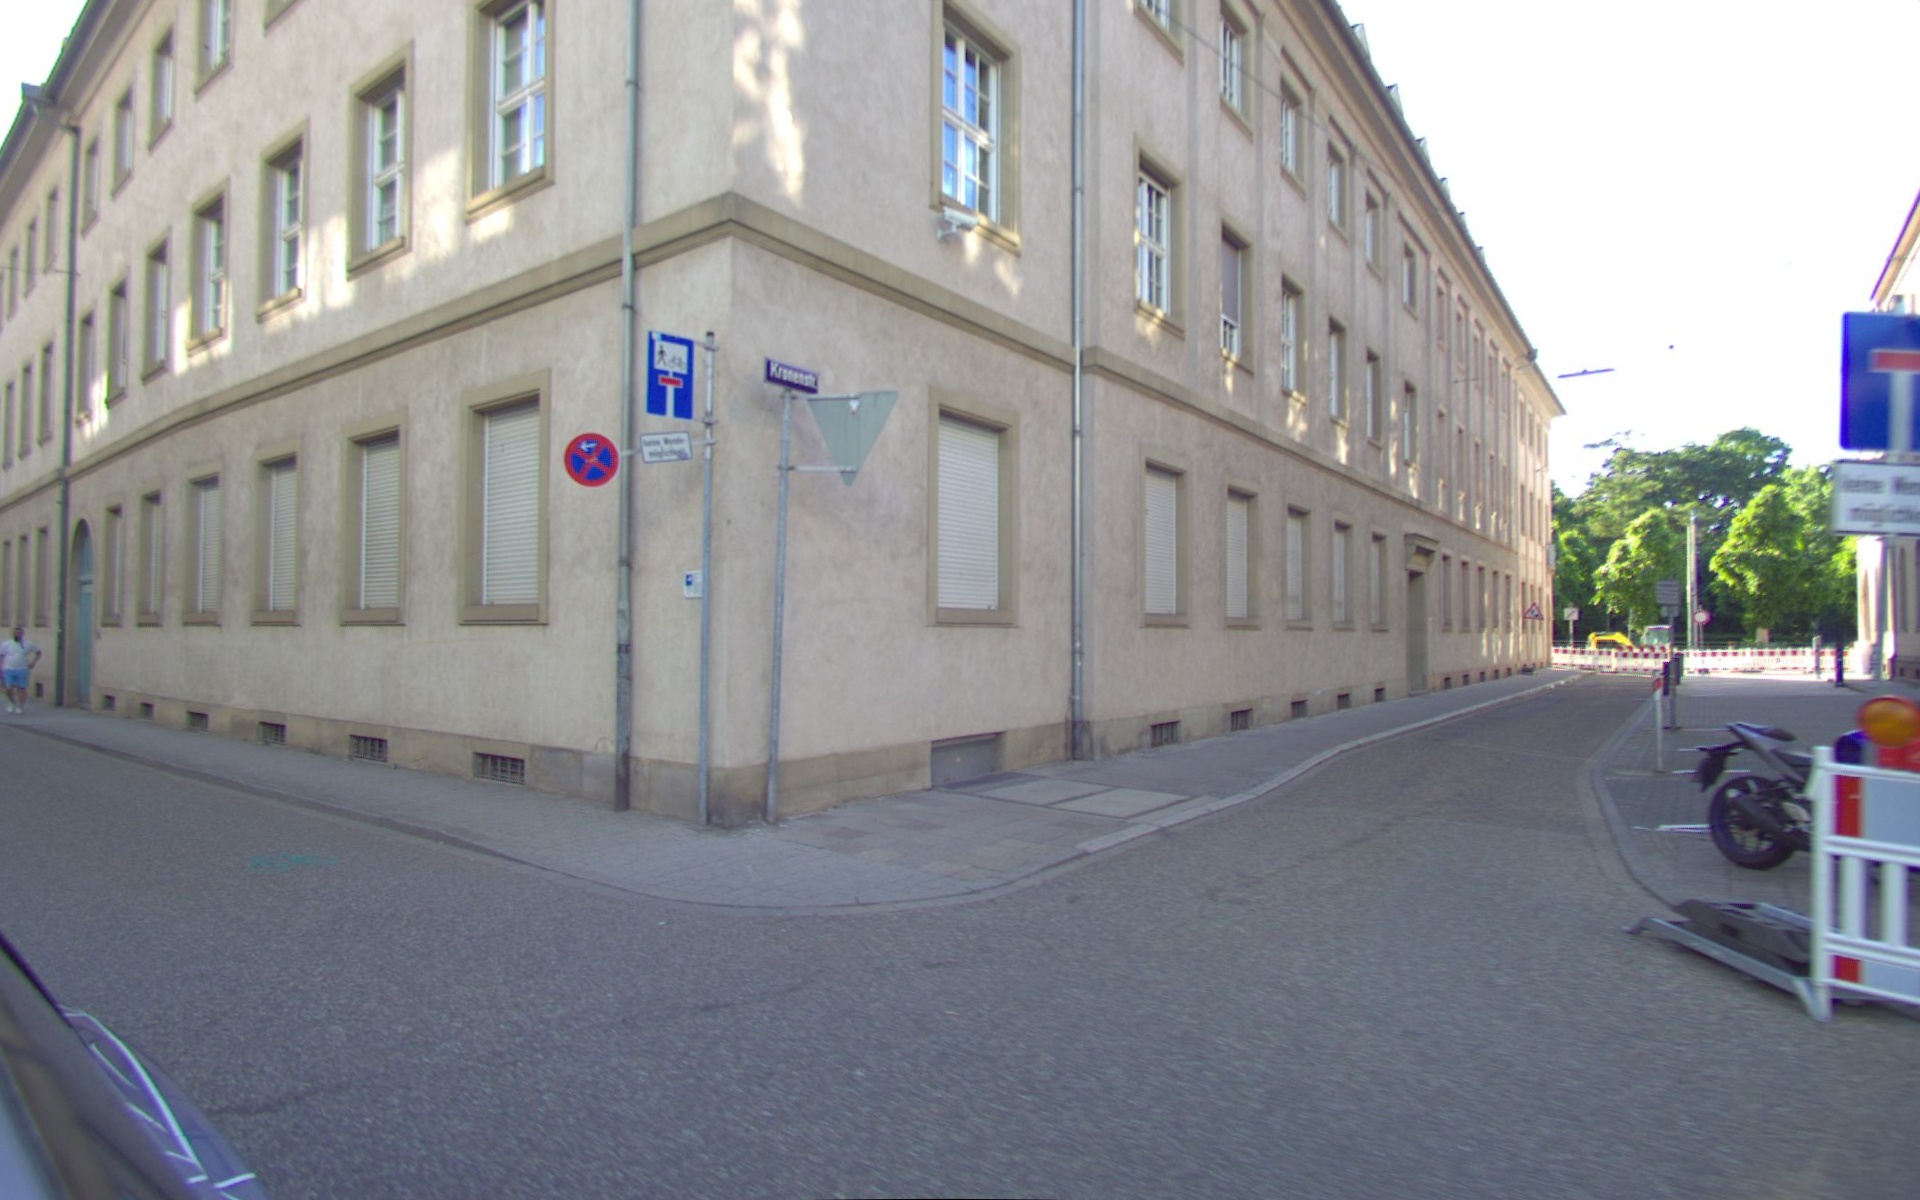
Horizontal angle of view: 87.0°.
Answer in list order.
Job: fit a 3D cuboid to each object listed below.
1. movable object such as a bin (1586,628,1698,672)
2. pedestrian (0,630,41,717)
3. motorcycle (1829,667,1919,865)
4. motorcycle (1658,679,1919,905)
[{"bbox_3d":[35.395,2.591,52.579,4.466,2.186,3.059,-2,-3,41],"label":"movable object such as a bin"},{"bbox_3d":[-18.999,1.450,20.330,0.874,1.682,0.686,-2,-1,41],"label":"pedestrian"},{"bbox_3d":[6.749,1.087,6.274,0.579,1.303,2.204,0,-3,-7],"label":"motorcycle"},{"bbox_3d":[5.517,1.118,6.129,0.578,1.182,2.288,-3,-2,-11],"label":"motorcycle"}]
